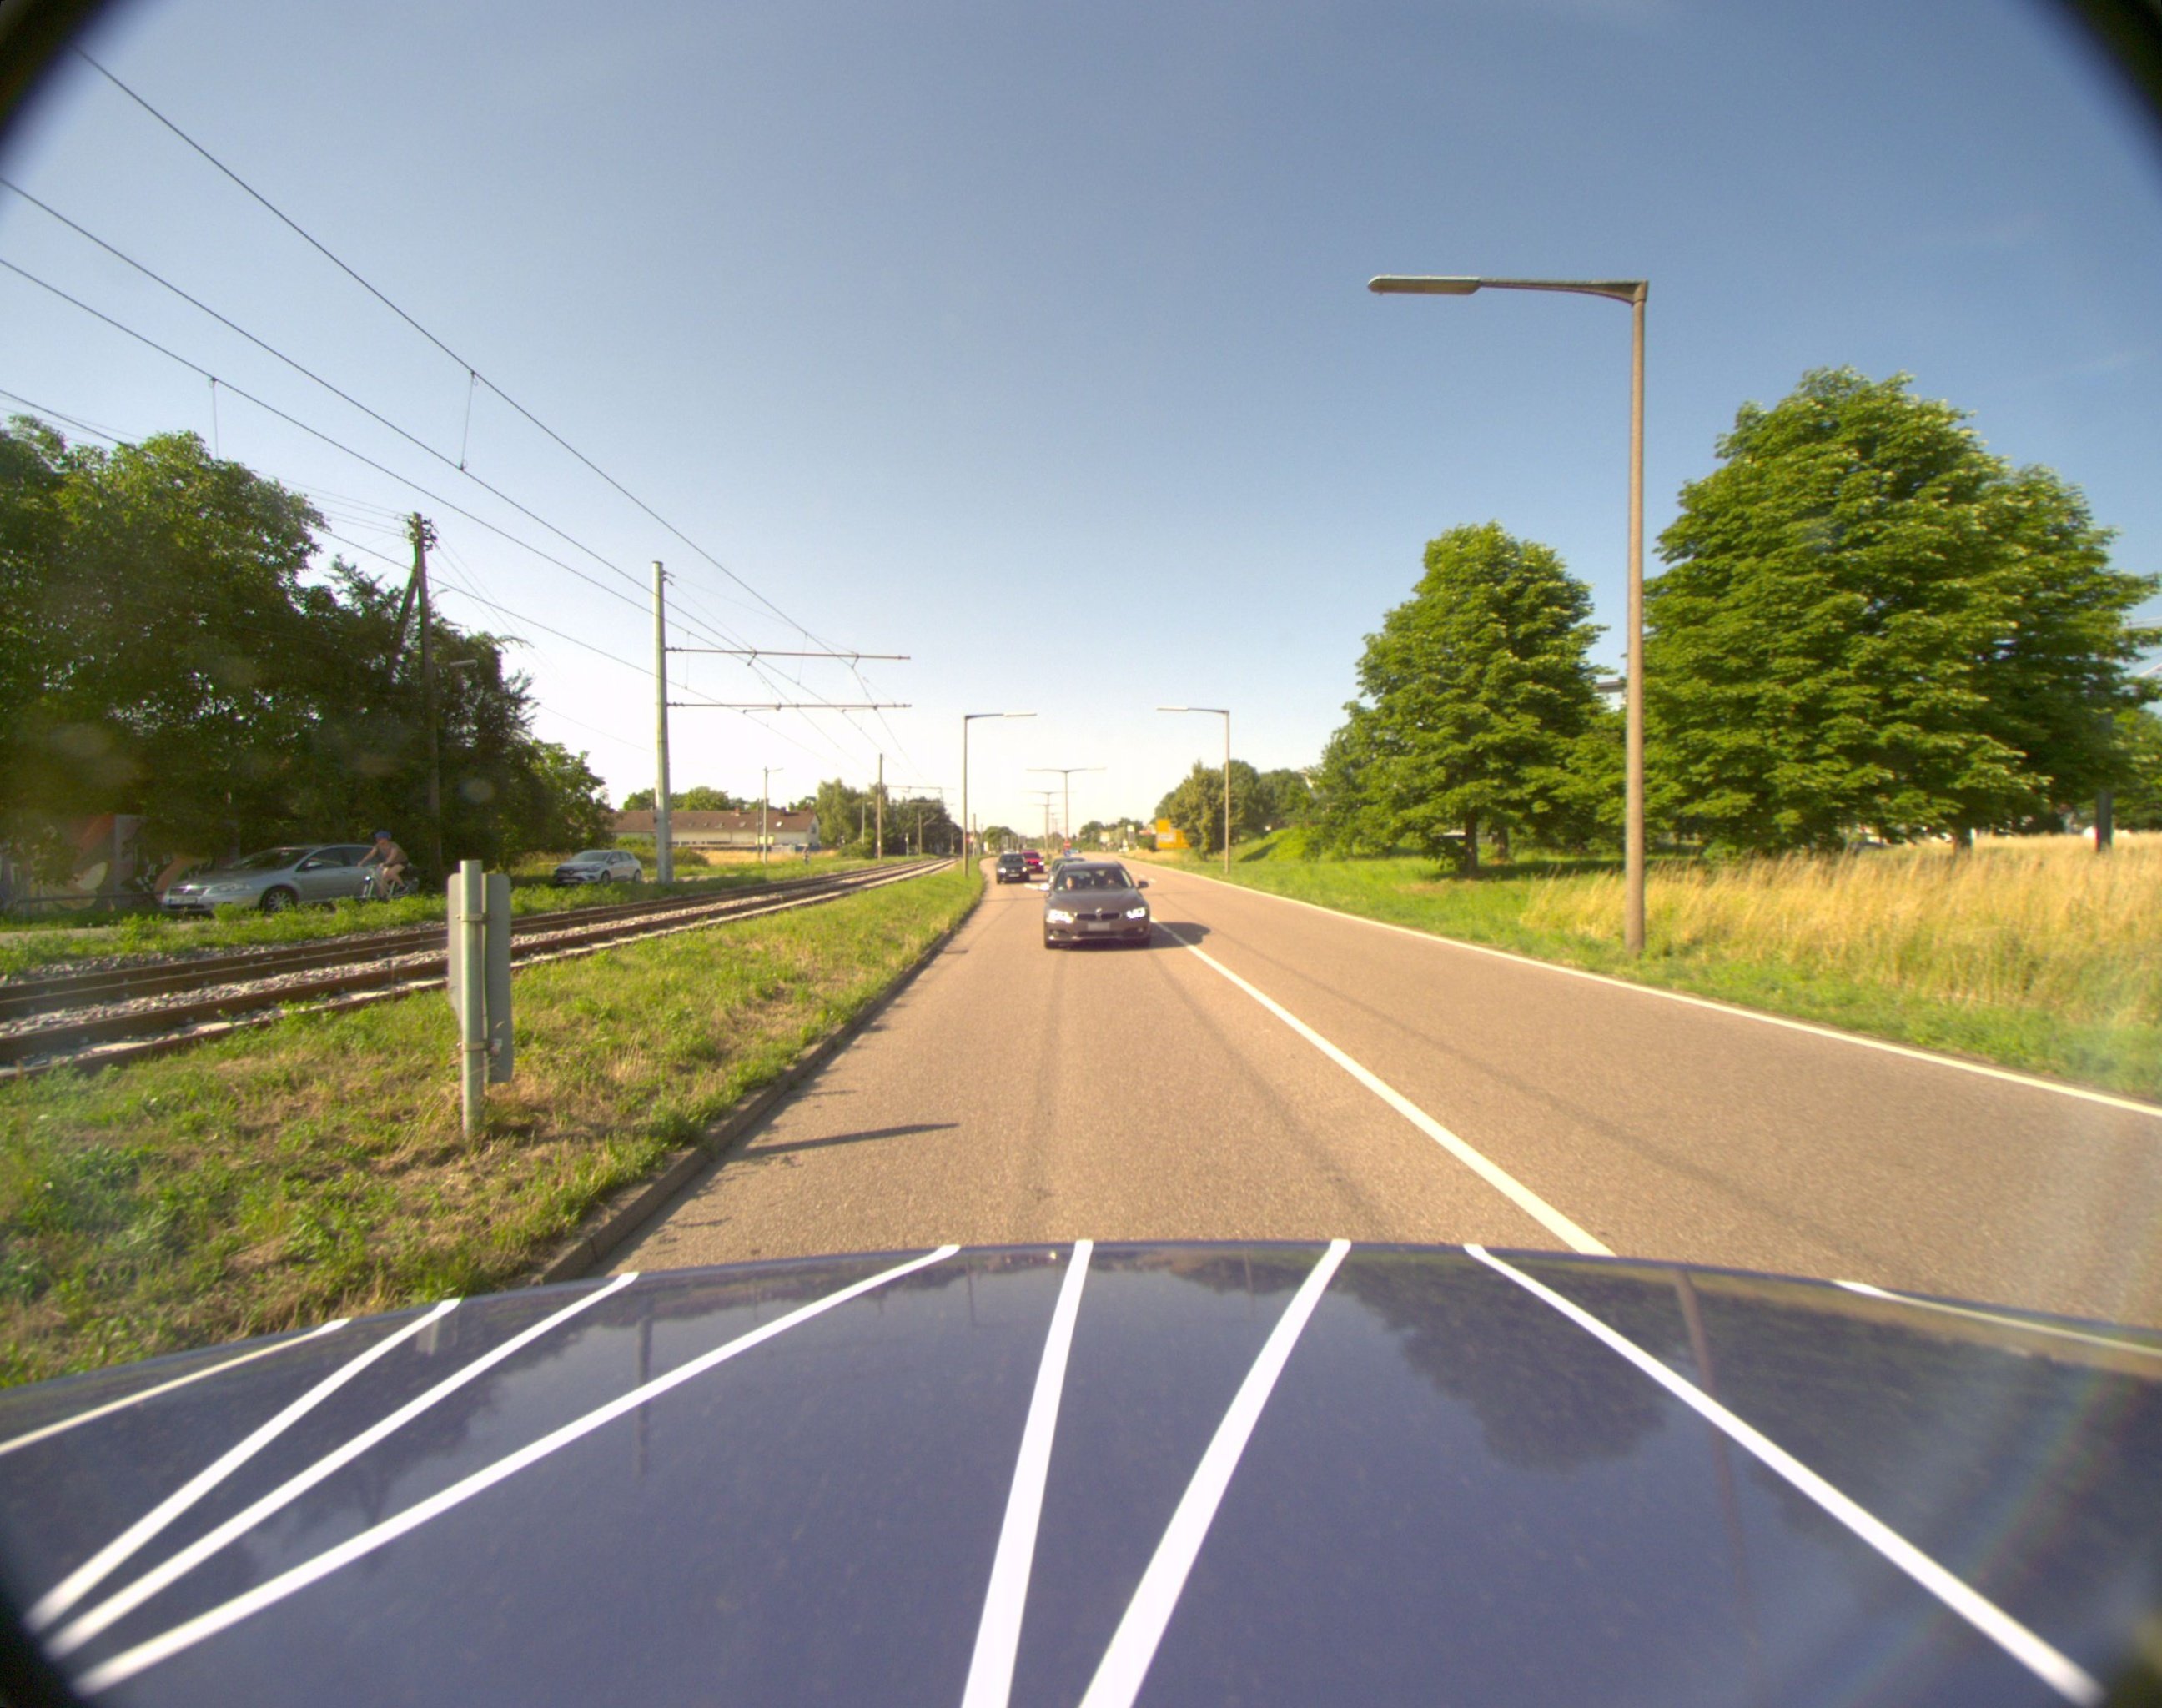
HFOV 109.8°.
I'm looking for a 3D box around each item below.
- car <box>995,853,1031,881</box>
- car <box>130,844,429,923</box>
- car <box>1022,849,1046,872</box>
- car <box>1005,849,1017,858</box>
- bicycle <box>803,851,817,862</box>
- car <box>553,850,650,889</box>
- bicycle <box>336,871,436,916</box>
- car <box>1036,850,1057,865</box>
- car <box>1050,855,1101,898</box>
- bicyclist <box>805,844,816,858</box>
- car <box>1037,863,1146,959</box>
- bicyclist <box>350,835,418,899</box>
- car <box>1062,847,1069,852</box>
[{"bbox_3d":[-3.710,0.687,42.015,1.848,1.347,4.152,-2,0,-3],"label":"car"},{"bbox_3d":[-18.159,0.581,17.662,1.912,1.581,4.727,0,0,0],"label":"car"},{"bbox_3d":[-3.424,0.454,55.098,1.608,1.504,4.266,-2,0,-3],"label":"car"},{"bbox_3d":[-12.403,-0.076,134.828,1.969,1.609,4.305,-1,1,-5],"label":"car"},{"bbox_3d":[-23.213,0.196,65.172,0.644,0.904,1.813,-2,1,-4],"label":"bicycle"},{"bbox_3d":[-18.814,0.554,30.028,1.539,1.440,4.128,0,0,-6],"label":"car"},{"bbox_3d":[-15.865,0.883,17.417,0.644,0.904,1.843,-1,1,-3],"label":"bicycle"},{"bbox_3d":[-3.517,0.332,77.140,1.968,1.504,4.806,-1,1,-3],"label":"car"},{"bbox_3d":[-0.204,0.787,28.463,1.711,1.444,4.589,-2,0,-1],"label":"car"},{"bbox_3d":[-23.200,-0.275,65.114,0.641,1.226,0.791,-2,1,-4],"label":"bicyclist"},{"bbox_3d":[0.135,0.947,14.319,1.747,1.444,3.946,-1,0,-1],"label":"car"},{"bbox_3d":[-15.875,0.284,17.324,0.631,1.414,0.962,-1,1,-3],"label":"bicyclist"},{"bbox_3d":[-4.669,-1.313,231.997,1.564,1.369,3.382,-3,2,-9],"label":"car"}]
